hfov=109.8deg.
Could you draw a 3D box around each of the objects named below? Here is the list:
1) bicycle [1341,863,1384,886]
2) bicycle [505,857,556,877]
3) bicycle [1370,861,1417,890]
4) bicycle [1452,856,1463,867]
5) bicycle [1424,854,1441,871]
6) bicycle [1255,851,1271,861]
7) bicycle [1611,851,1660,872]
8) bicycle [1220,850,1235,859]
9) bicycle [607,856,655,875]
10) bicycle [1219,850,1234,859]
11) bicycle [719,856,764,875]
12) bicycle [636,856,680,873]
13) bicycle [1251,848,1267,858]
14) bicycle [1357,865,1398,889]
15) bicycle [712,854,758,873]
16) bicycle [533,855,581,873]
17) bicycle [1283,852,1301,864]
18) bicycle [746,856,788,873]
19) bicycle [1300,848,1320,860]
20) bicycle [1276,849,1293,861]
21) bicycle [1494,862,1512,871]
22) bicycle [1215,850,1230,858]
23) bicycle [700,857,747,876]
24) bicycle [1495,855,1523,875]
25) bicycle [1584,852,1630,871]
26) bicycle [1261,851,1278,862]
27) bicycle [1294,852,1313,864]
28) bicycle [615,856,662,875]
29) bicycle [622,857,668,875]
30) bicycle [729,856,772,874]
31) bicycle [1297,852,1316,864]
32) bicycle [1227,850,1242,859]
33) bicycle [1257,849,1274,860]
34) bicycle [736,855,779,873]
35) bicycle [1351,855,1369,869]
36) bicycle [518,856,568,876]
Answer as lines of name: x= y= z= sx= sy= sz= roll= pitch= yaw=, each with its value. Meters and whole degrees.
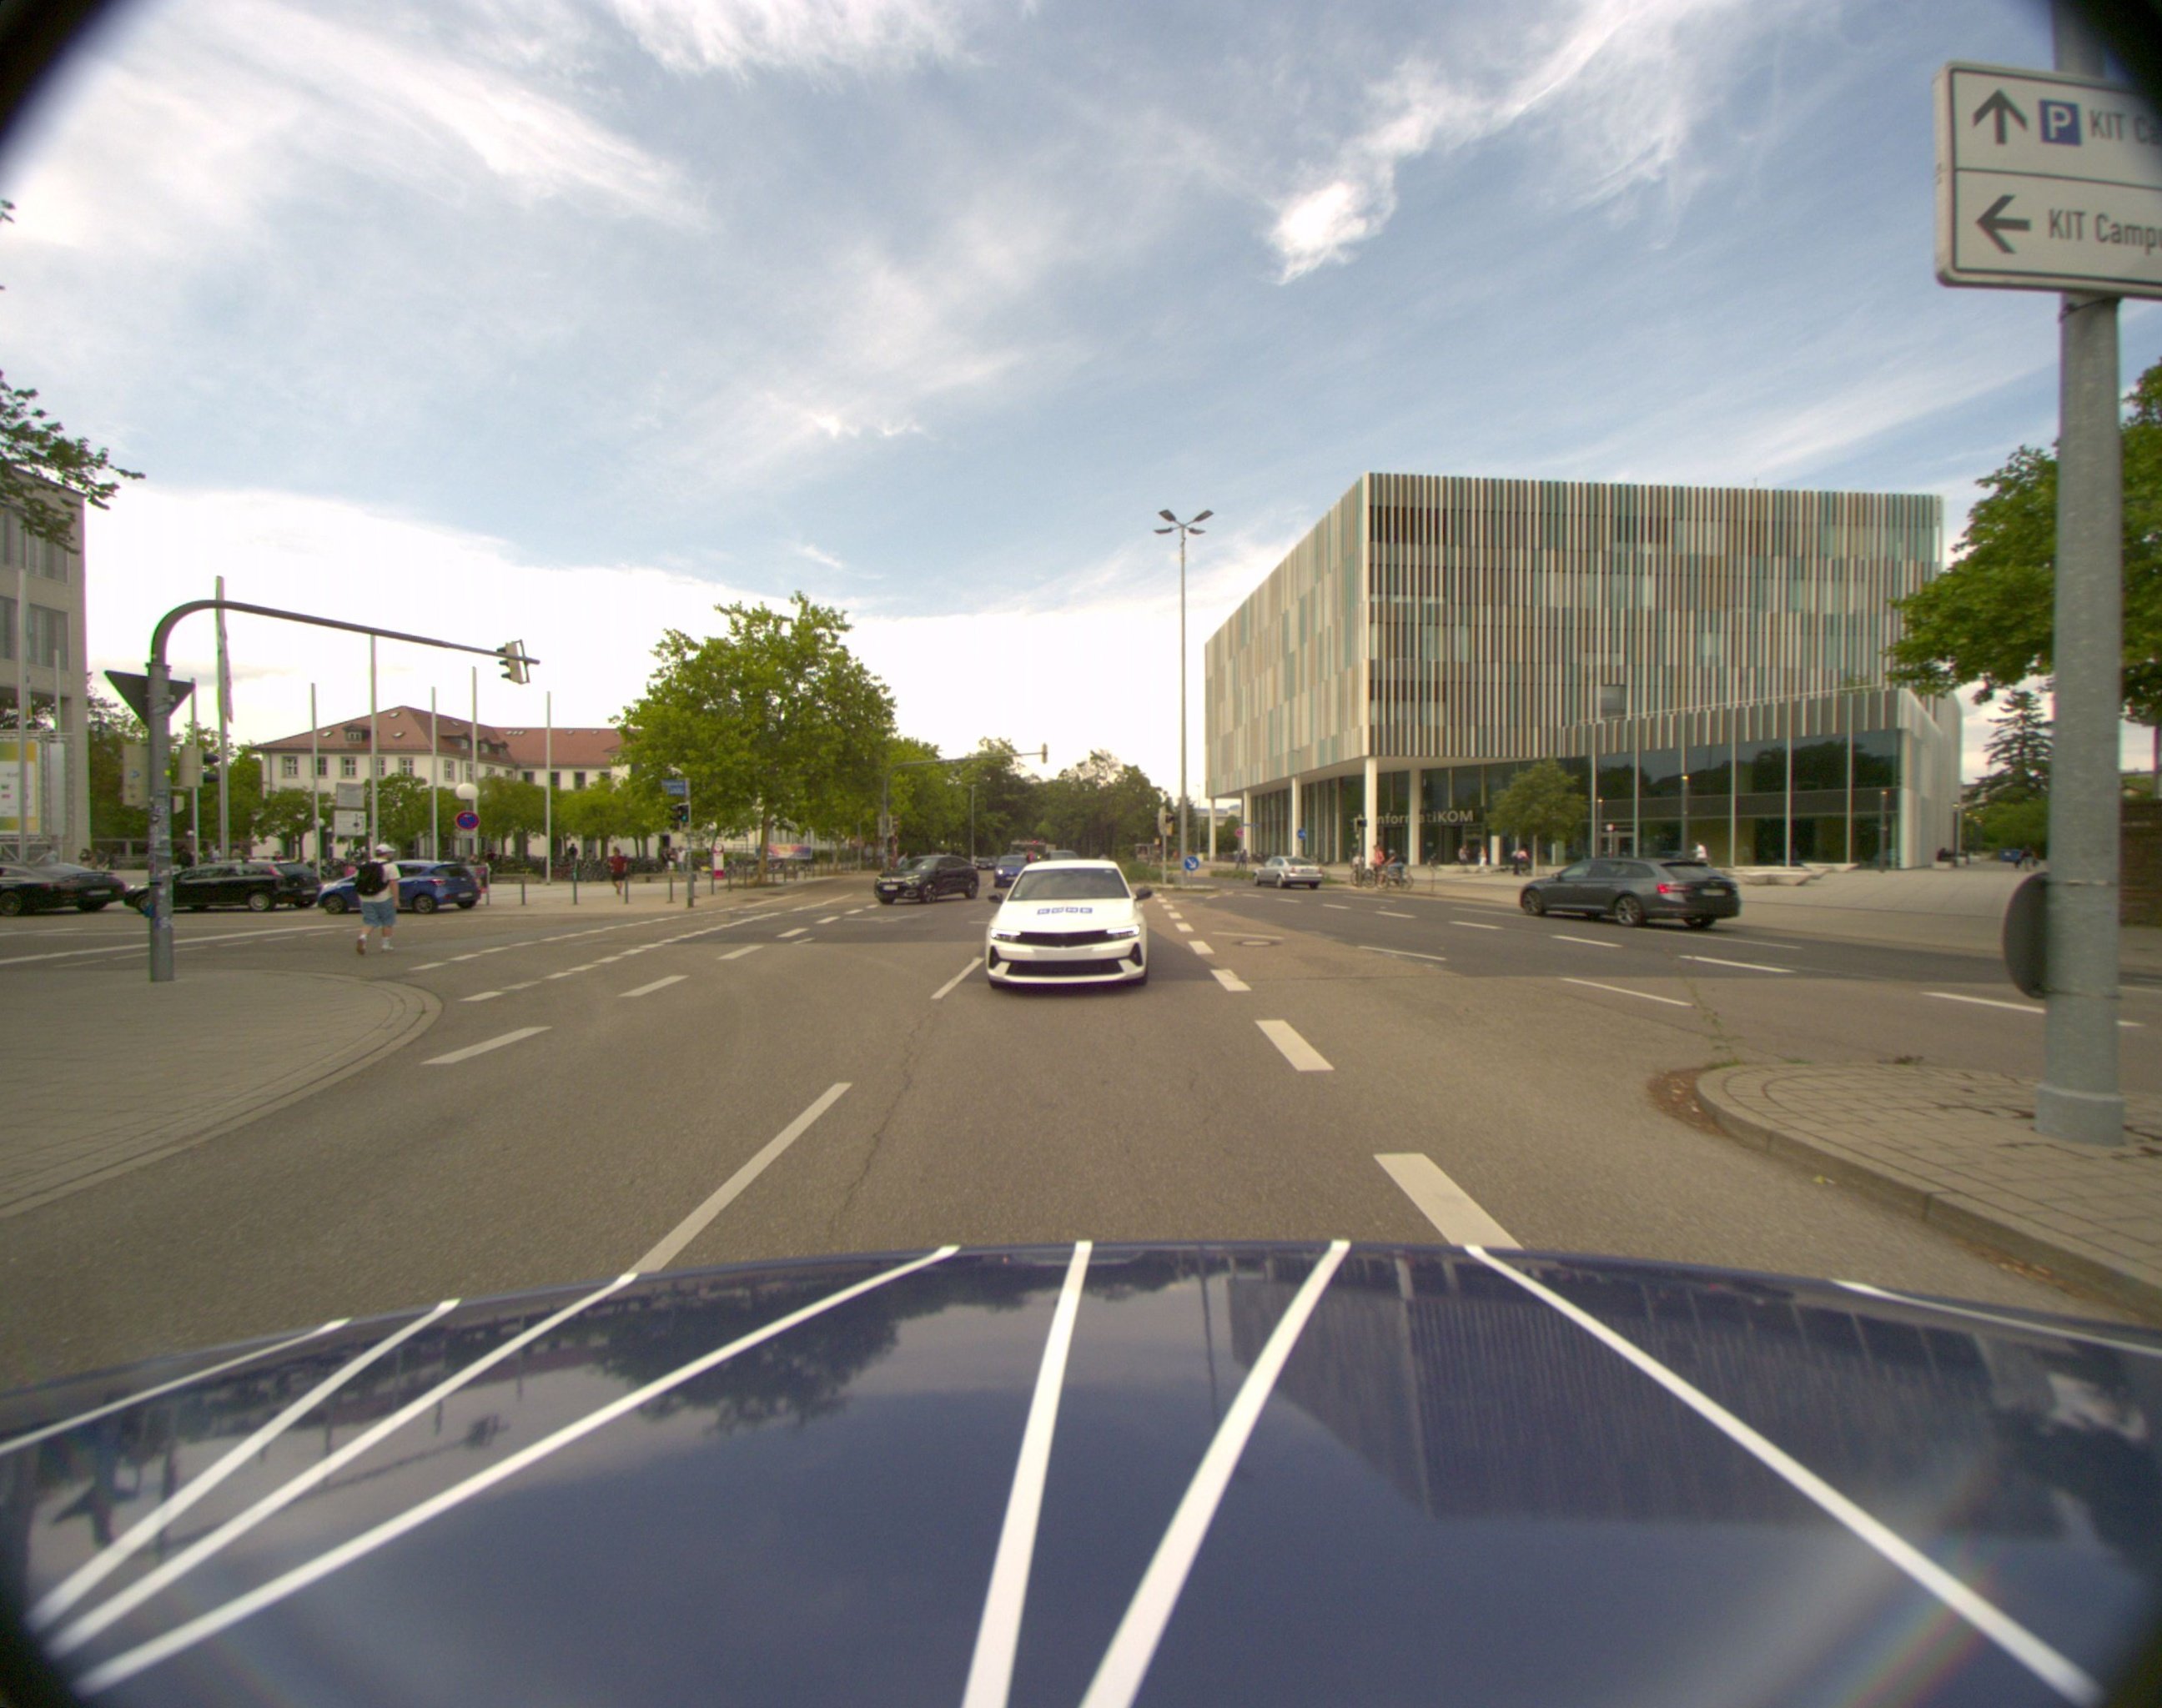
bicycle: x=13.101 y=0.952 z=35.398 sx=1.824 sy=0.983 sz=0.727 roll=-2 pitch=1 yaw=-18
bicycle: x=-32.842 y=0.753 z=45.340 sx=2.472 sy=1.136 sz=0.717 roll=-1 pitch=1 yaw=-3
bicycle: x=13.244 y=0.896 z=32.187 sx=1.897 sy=1.163 sz=0.606 roll=-1 pitch=1 yaw=-19
bicycle: x=24.774 y=0.485 z=50.014 sx=0.393 sy=0.669 sz=1.799 roll=-1 pitch=1 yaw=33
bicycle: x=23.370 y=0.557 z=50.478 sx=1.549 sy=1.023 sz=0.393 roll=-3 pitch=2 yaw=-41
bicycle: x=18.824 y=0.182 z=78.573 sx=1.582 sy=1.017 sz=0.389 roll=-2 pitch=1 yaw=-9
bicycle: x=30.743 y=0.412 z=42.133 sx=2.685 sy=1.083 sz=0.796 roll=-1 pitch=1 yaw=-19
bicycle: x=17.775 y=0.033 z=92.473 sx=1.704 sy=1.017 sz=0.434 roll=-2 pitch=1 yaw=-9
bicycle: x=-27.749 y=0.696 z=46.903 sx=2.472 sy=1.136 sz=0.717 roll=-1 pitch=1 yaw=-3
bicycle: x=17.877 y=0.016 z=93.360 sx=1.704 sy=1.017 sz=0.434 roll=-2 pitch=1 yaw=-9
bicycle: x=-21.559 y=0.723 z=48.316 sx=2.472 sy=1.136 sz=0.717 roll=-1 pitch=1 yaw=-3
bicycle: x=-27.922 y=0.686 z=50.162 sx=2.472 sy=1.136 sz=0.717 roll=-1 pitch=1 yaw=-3
bicycle: x=18.533 y=-0.103 z=79.090 sx=1.582 sy=1.017 sz=0.389 roll=2 pitch=1 yaw=-9
bicycle: x=13.102 y=1.019 z=33.604 sx=1.693 sy=0.983 sz=0.570 roll=-2 pitch=1 yaw=-18
bicycle: x=-21.442 y=0.587 z=47.101 sx=2.472 sy=1.136 sz=0.717 roll=-1 pitch=1 yaw=-3
bicycle: x=-33.000 y=0.618 z=47.852 sx=2.472 sy=1.136 sz=0.717 roll=-1 pitch=1 yaw=-3
bicycle: x=19.770 y=0.348 z=71.228 sx=1.582 sy=1.017 sz=0.389 roll=-2 pitch=1 yaw=-9
bicycle: x=-21.005 y=0.691 z=50.861 sx=2.472 sy=1.136 sz=0.717 roll=-1 pitch=1 yaw=-3
bicycle: x=19.575 y=0.017 z=64.972 sx=1.546 sy=0.989 sz=0.399 roll=-2 pitch=1 yaw=-8
bicycle: x=19.642 y=0.104 z=73.352 sx=1.582 sy=1.017 sz=0.389 roll=-2 pitch=1 yaw=-9
bicycle: x=26.066 y=0.774 z=46.896 sx=0.622 sy=0.519 sz=2.255 roll=0 pitch=1 yaw=38
bicycle: x=17.673 y=-0.003 z=94.830 sx=1.704 sy=1.017 sz=0.434 roll=-2 pitch=1 yaw=-9
bicycle: x=-21.473 y=0.750 z=45.643 sx=2.472 sy=1.136 sz=0.717 roll=-1 pitch=1 yaw=-3
bicycle: x=21.860 y=0.562 z=38.826 sx=0.440 sy=0.993 sz=1.748 roll=-1 pitch=0 yaw=-1
bicycle: x=29.912 y=0.424 z=43.206 sx=2.685 sy=0.994 sz=0.672 roll=-1 pitch=1 yaw=-19
bicycle: x=18.840 y=0.233 z=75.976 sx=1.582 sy=1.017 sz=0.389 roll=-2 pitch=1 yaw=-9
bicycle: x=19.467 y=0.352 z=66.393 sx=1.546 sy=0.932 sz=0.389 roll=-2 pitch=1 yaw=-9
bicycle: x=-27.791 y=0.719 z=47.735 sx=2.472 sy=1.136 sz=0.717 roll=-1 pitch=1 yaw=-3
bicycle: x=-27.837 y=0.765 z=48.531 sx=2.472 sy=1.136 sz=0.717 roll=-1 pitch=1 yaw=-3
bicycle: x=-21.366 y=0.708 z=49.151 sx=2.472 sy=1.136 sz=0.717 roll=-1 pitch=1 yaw=-3
bicycle: x=19.526 y=0.363 z=65.725 sx=1.546 sy=0.932 sz=0.393 roll=-2 pitch=1 yaw=-9
bicycle: x=17.952 y=0.089 z=88.847 sx=1.704 sy=1.017 sz=0.434 roll=-2 pitch=1 yaw=-9
bicycle: x=18.931 y=0.072 z=77.897 sx=1.582 sy=1.017 sz=0.389 roll=-2 pitch=1 yaw=-9
bicycle: x=-21.229 y=0.642 z=49.933 sx=2.472 sy=1.136 sz=0.717 roll=-1 pitch=1 yaw=-3
bicycle: x=20.338 y=0.576 z=55.395 sx=1.613 sy=0.932 sz=0.393 roll=-3 pitch=1 yaw=-37
bicycle: x=-32.911 y=0.735 z=46.535 sx=2.472 sy=1.136 sz=0.717 roll=-1 pitch=1 yaw=-3
